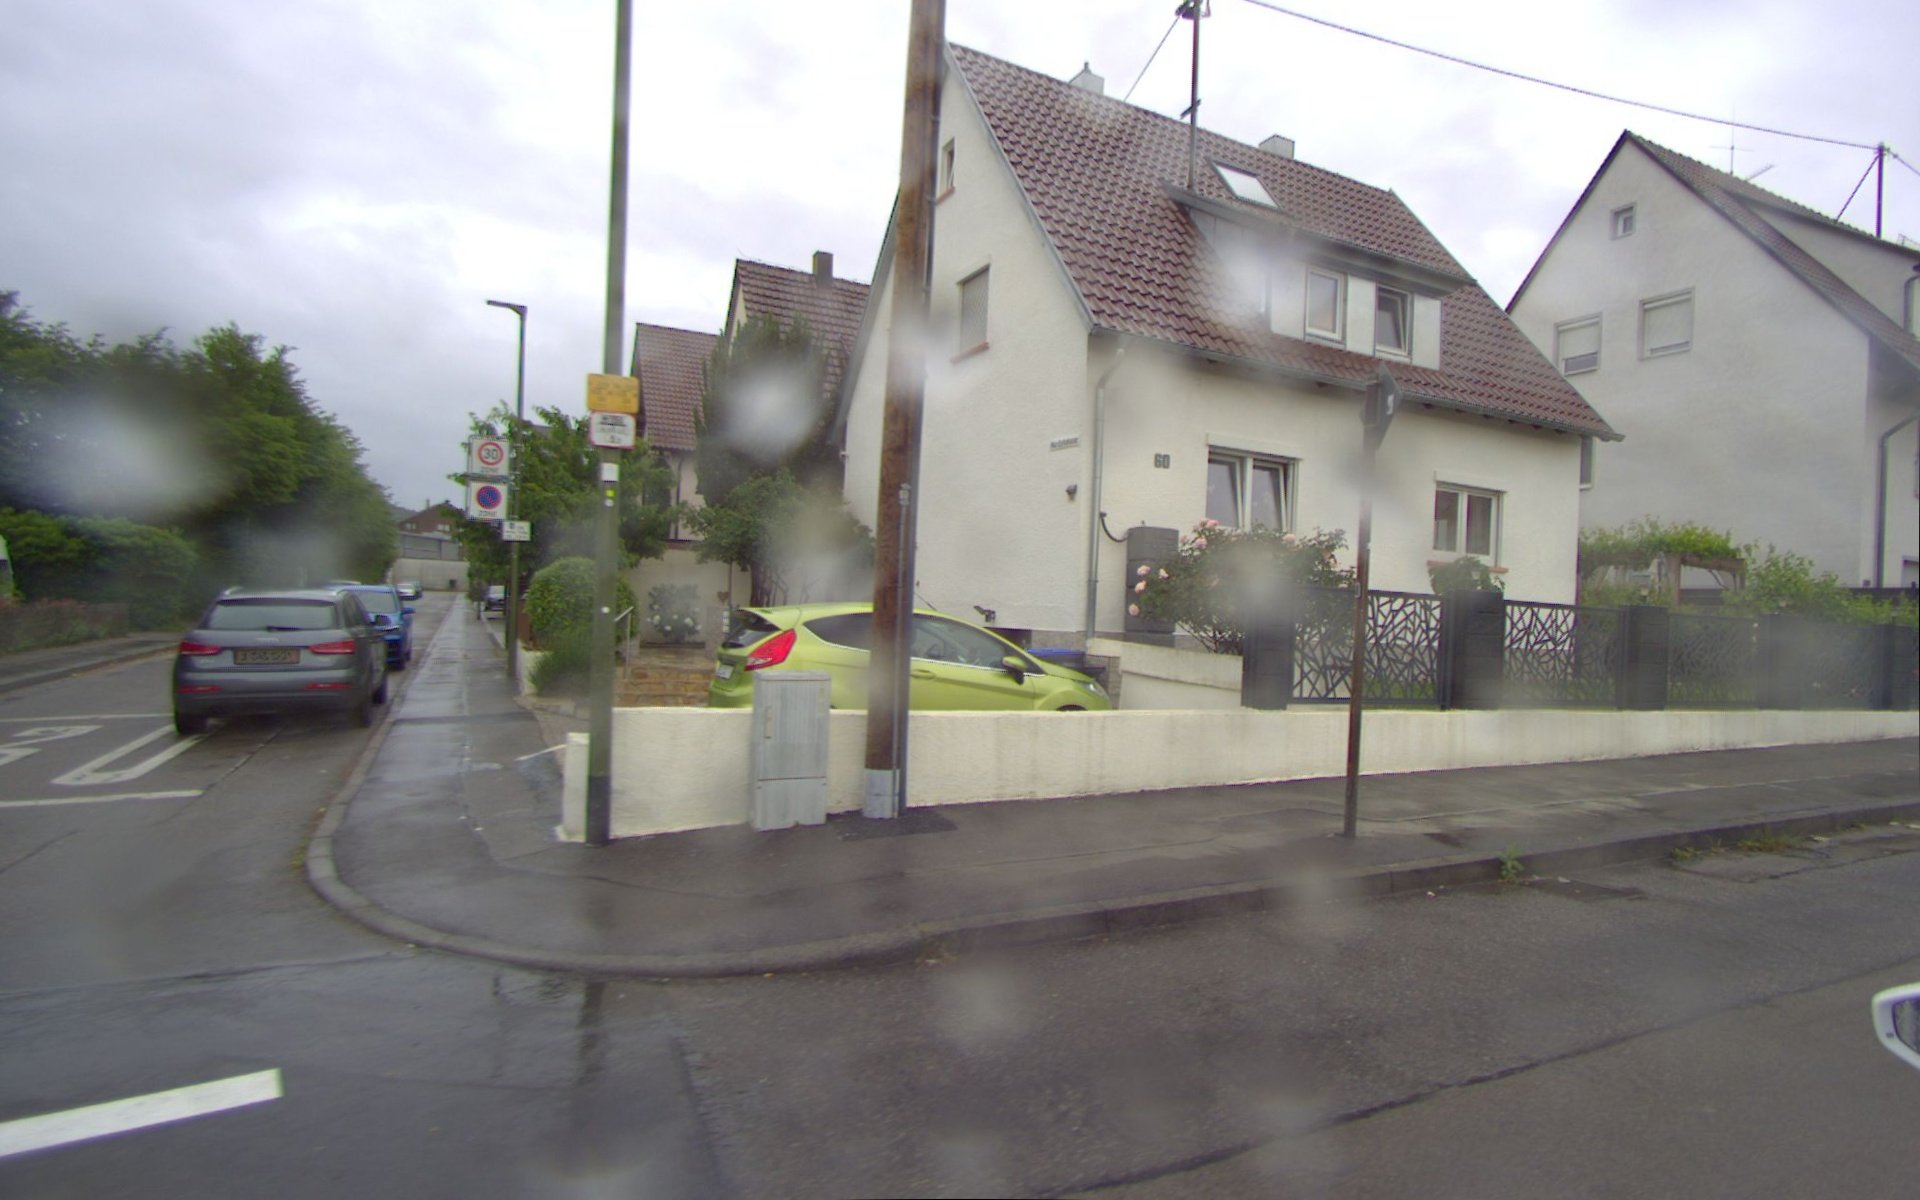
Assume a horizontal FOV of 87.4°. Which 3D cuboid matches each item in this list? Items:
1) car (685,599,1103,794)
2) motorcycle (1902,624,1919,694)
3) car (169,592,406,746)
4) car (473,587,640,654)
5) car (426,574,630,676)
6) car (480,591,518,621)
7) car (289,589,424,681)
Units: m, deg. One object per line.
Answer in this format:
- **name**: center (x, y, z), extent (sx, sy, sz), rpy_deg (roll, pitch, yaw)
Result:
- **car**: center (-0.624, 0.814, 9.278), extent (3.411, 1.486, 1.773), rpy_deg (3, 0, -25)
- **motorcycle**: center (18.645, 1.162, 18.049), extent (0.726, 1.290, 2.355), rpy_deg (2, 2, -25)
- **car**: center (-7.924, 0.687, 12.217), extent (1.760, 1.487, 3.832), rpy_deg (0, 1, -24)
- **car**: center (-10.426, 0.502, 25.982), extent (3.880, 1.598, 2.009), rpy_deg (0, 1, -26)
- **car**: center (-9.300, 0.484, 21.690), extent (3.881, 2.041, 2.000), rpy_deg (0, 1, -27)
- **car**: center (-27.585, 0.392, 60.034), extent (1.973, 1.739, 3.975), rpy_deg (1, -2, -25)
- **car**: center (-11.932, 0.605, 20.106), extent (1.900, 1.595, 3.988), rpy_deg (0, 1, -25)
